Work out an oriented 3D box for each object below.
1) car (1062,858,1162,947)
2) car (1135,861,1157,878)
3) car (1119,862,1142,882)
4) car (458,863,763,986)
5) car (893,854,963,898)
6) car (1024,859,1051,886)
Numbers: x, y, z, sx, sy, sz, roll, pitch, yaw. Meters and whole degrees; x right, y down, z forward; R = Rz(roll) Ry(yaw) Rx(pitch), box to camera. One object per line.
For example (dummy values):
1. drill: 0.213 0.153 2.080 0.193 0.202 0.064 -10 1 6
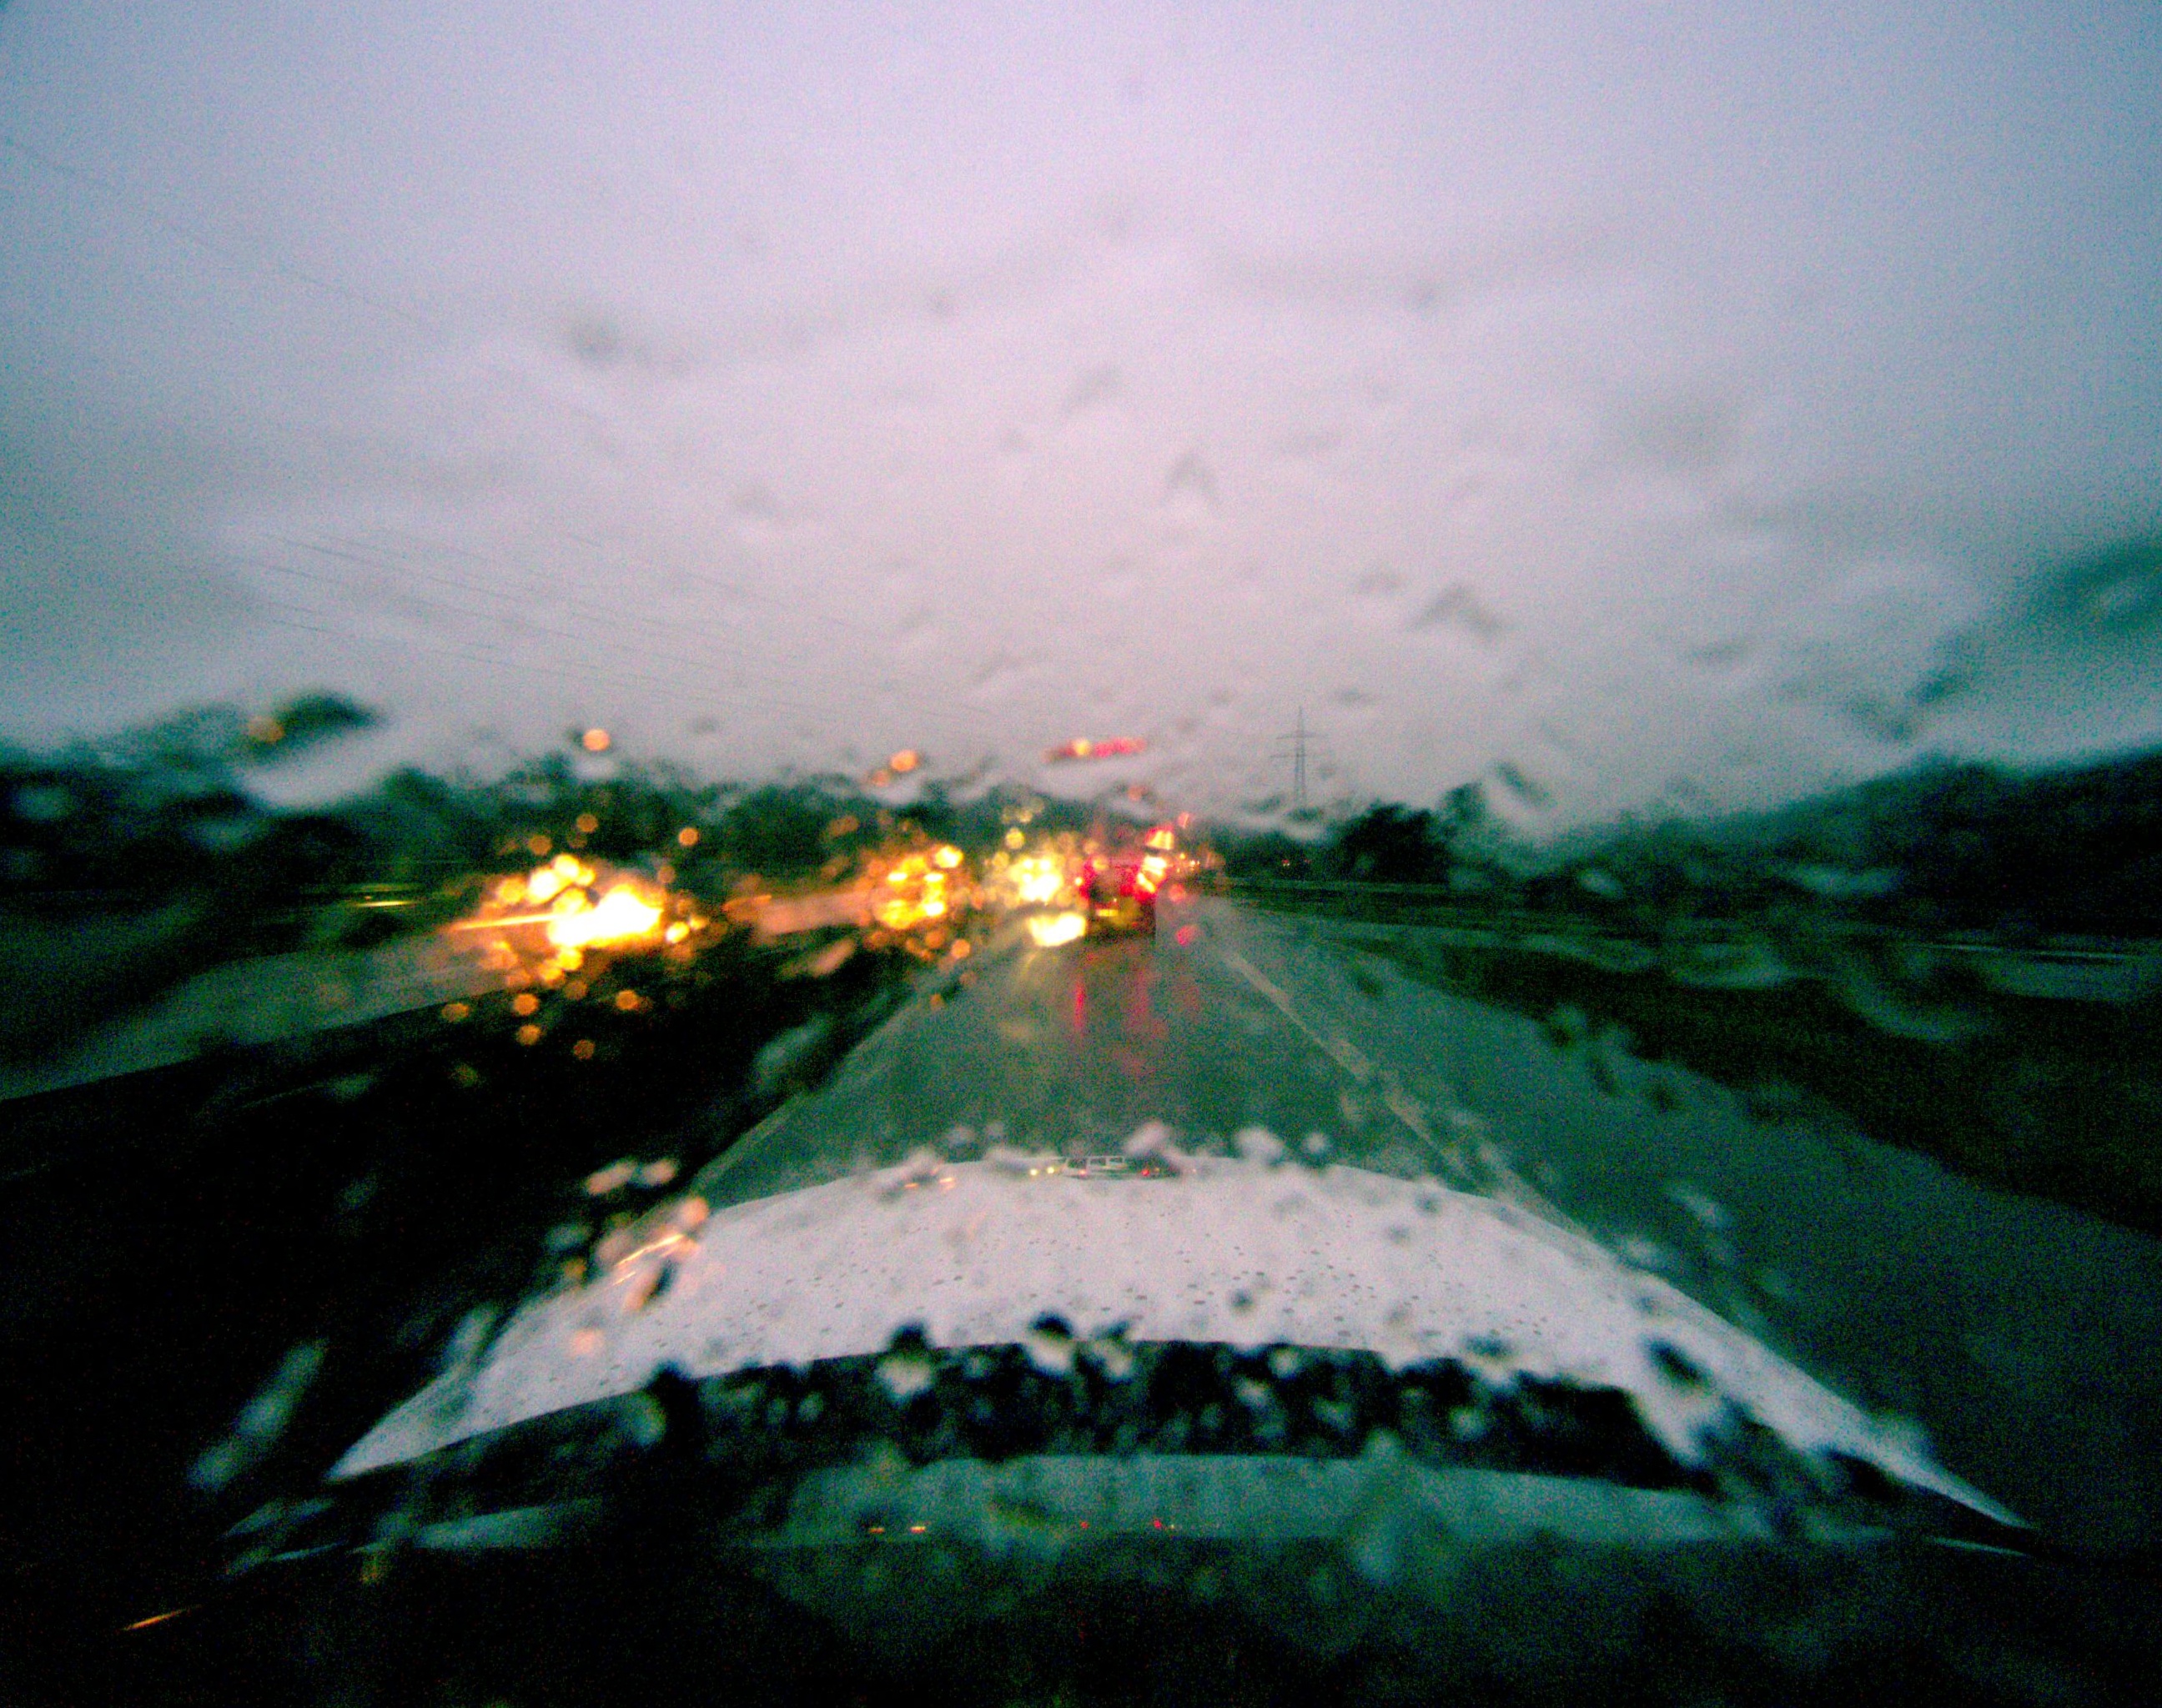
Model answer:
1. car: 0.643 0.867 16.490 1.723 1.532 4.044 -2 0 2
2. car: 7.479 1.753 92.920 1.934 1.744 4.011 6 0 11
3. car: 4.640 1.601 75.490 1.936 1.745 4.006 2 0 6
4. car: -6.704 0.894 12.337 1.987 1.472 4.472 -1 0 0
5. car: -5.563 0.767 30.104 1.640 1.501 4.002 -2 0 2
6. car: -3.578 1.495 67.729 1.866 2.137 5.179 -2 0 0
